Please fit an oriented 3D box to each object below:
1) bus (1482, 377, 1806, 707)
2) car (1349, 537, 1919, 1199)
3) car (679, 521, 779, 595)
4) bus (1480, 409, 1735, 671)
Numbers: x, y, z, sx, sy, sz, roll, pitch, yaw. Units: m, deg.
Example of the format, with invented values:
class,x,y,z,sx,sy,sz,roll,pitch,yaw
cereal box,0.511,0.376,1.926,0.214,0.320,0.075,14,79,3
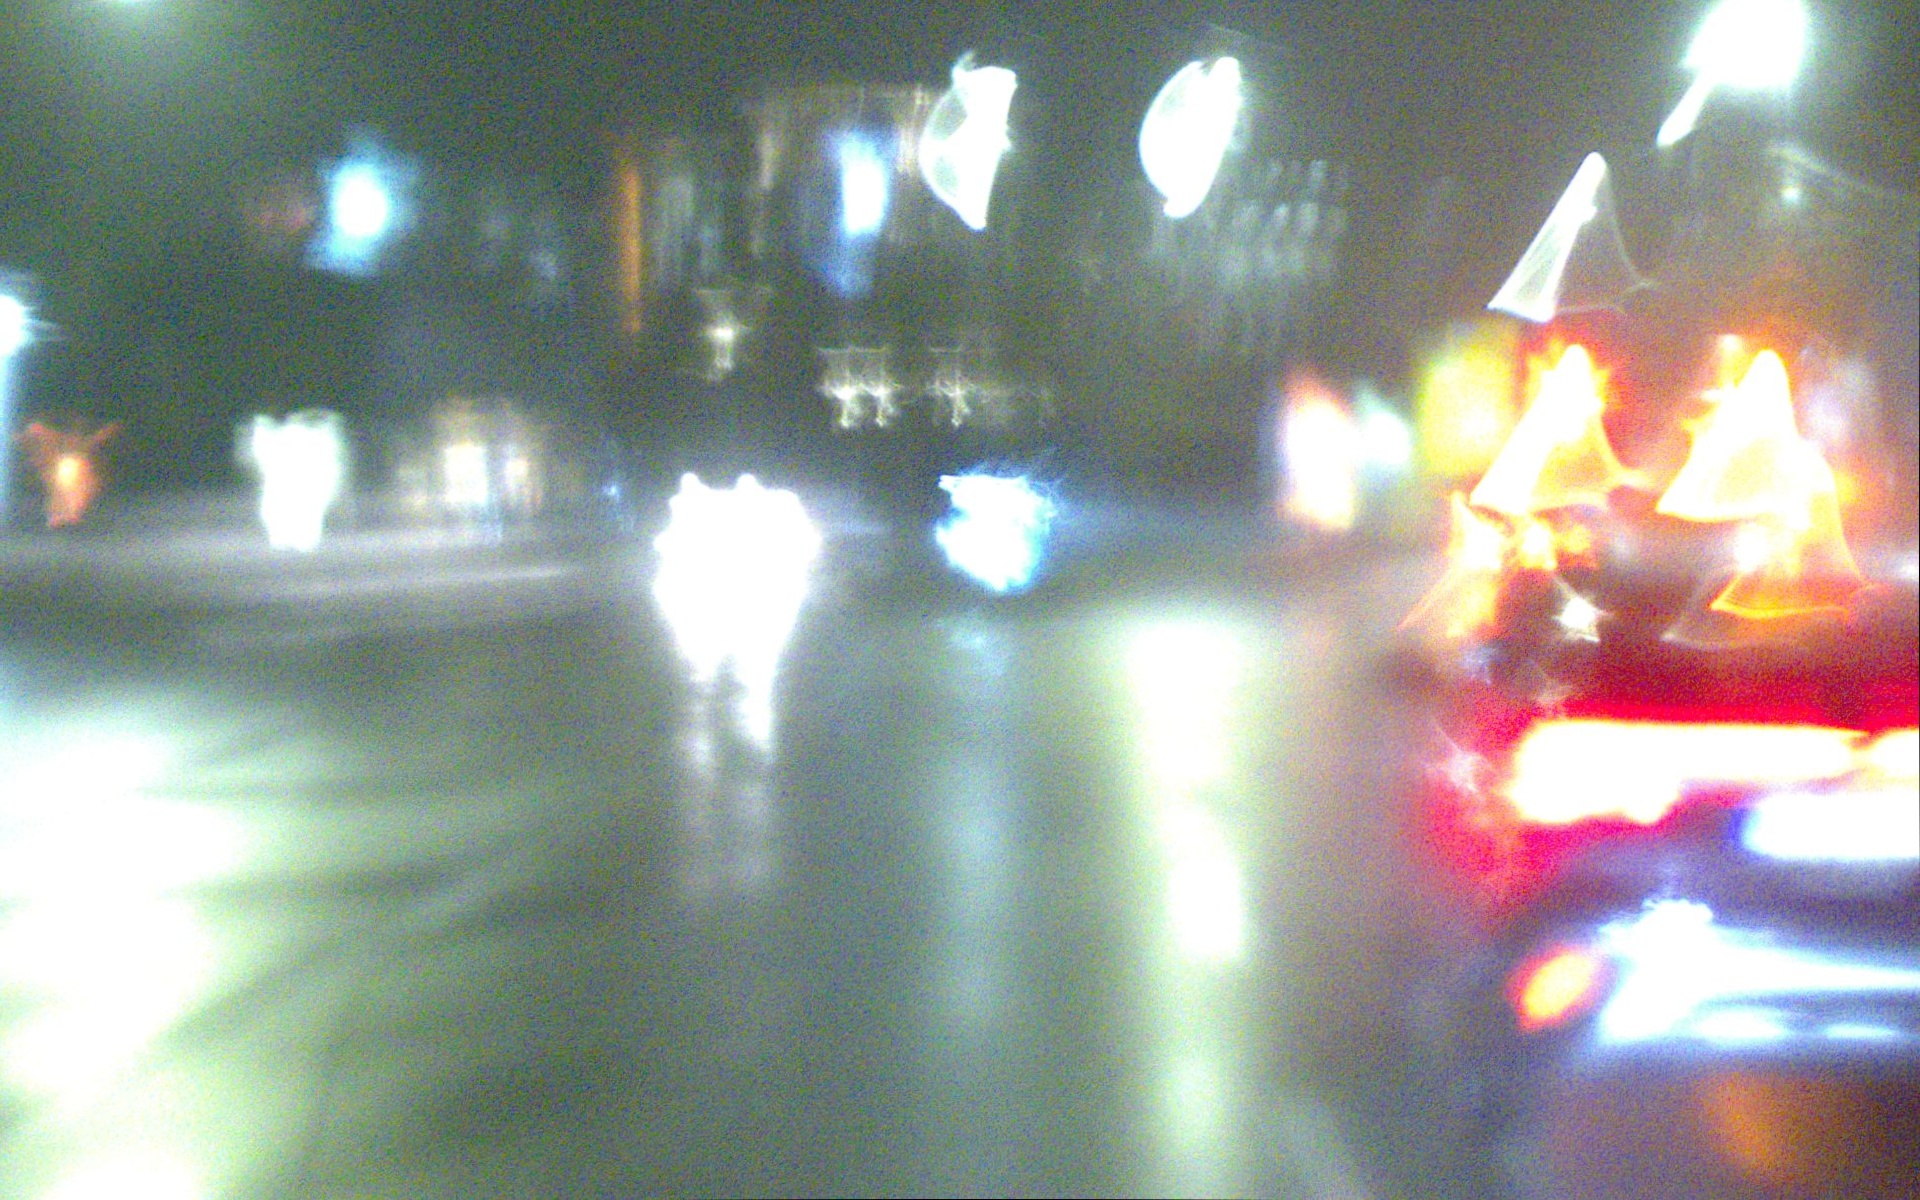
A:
class,x,y,z,sx,sy,sz,roll,pitch,yaw
bus,7.492,-0.655,38.783,3.044,3.201,9.047,2,1,8
car,2.204,0.621,9.736,1.994,1.519,3.999,2,1,4
car,-4.930,-0.912,73.880,1.765,1.452,3.953,3,1,1
bus,8.811,-0.828,47.708,3.044,3.201,9.047,2,1,8
